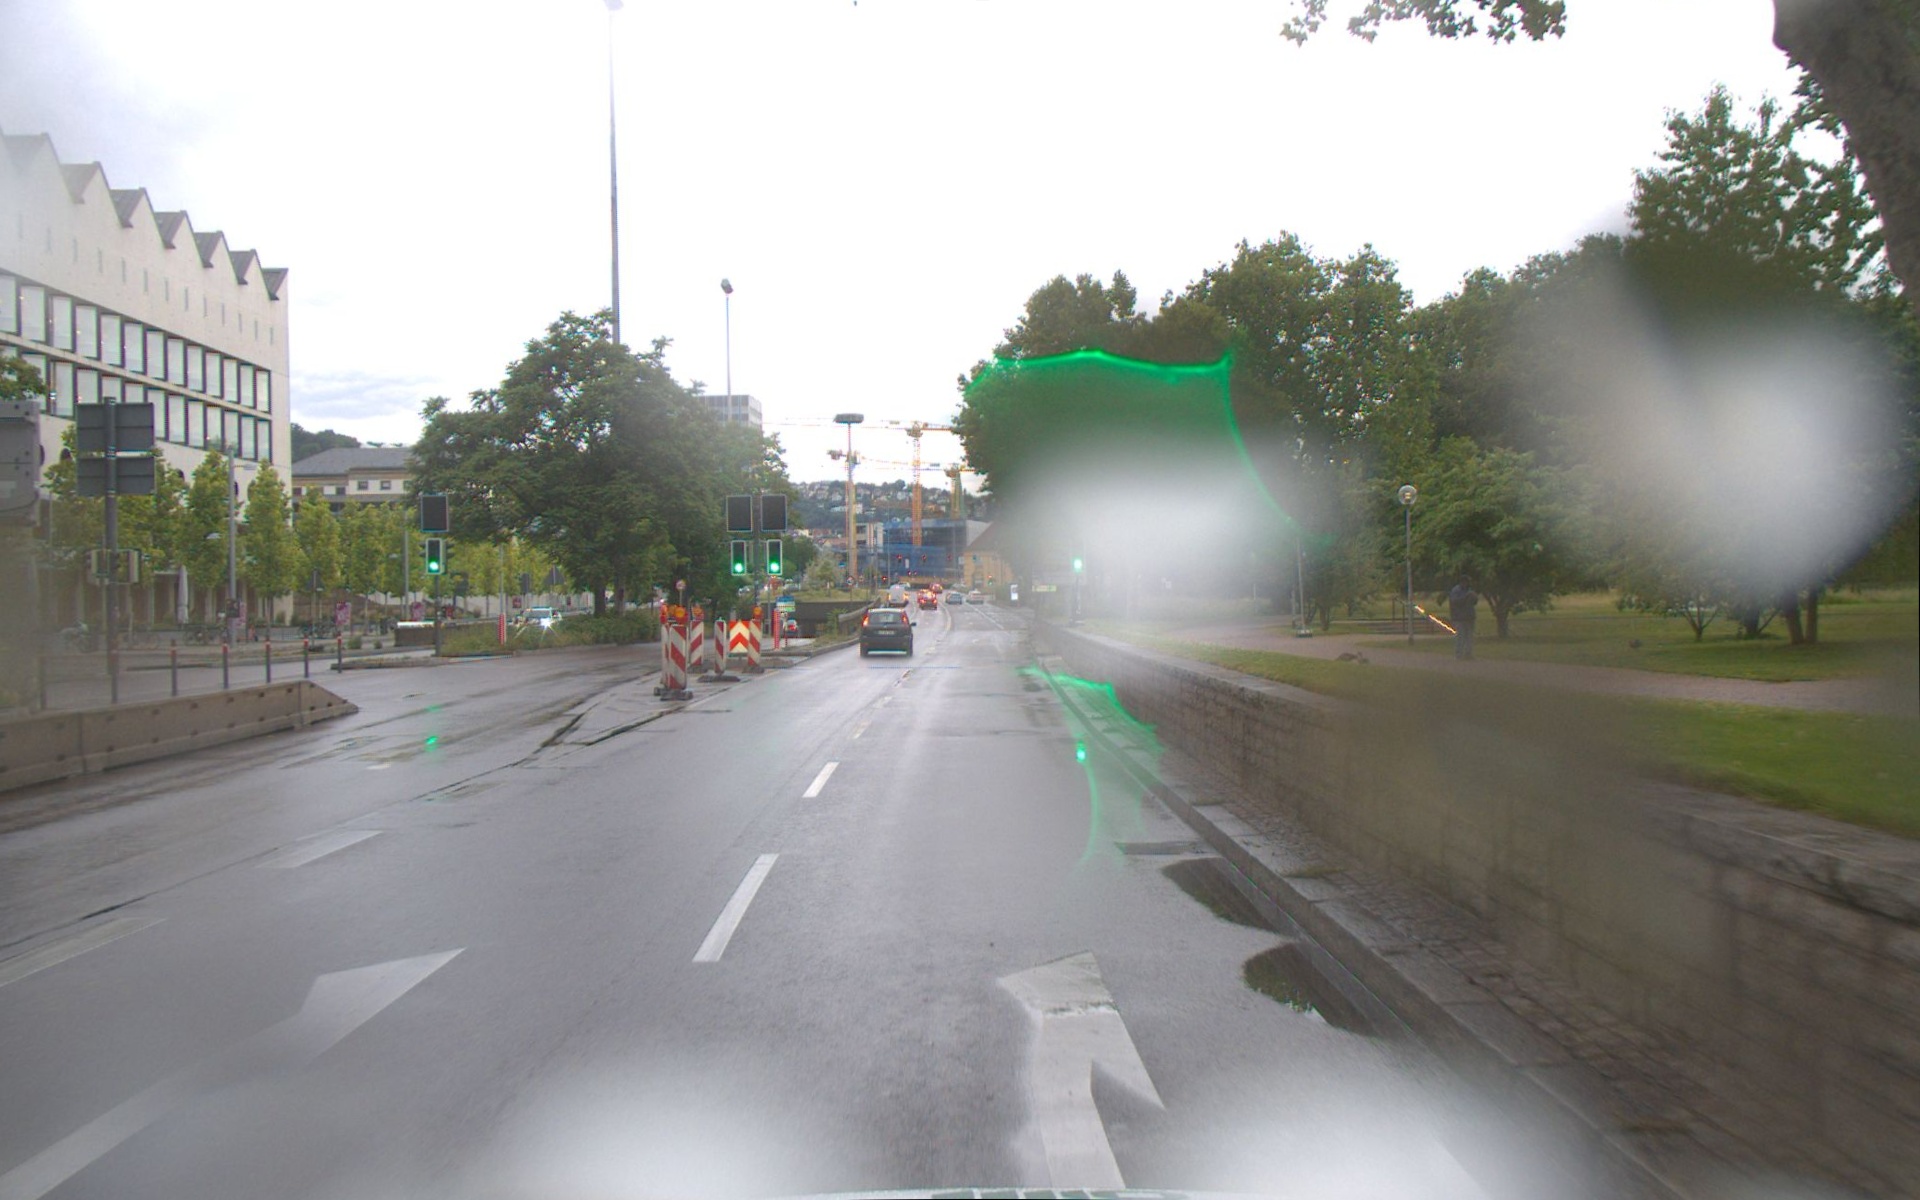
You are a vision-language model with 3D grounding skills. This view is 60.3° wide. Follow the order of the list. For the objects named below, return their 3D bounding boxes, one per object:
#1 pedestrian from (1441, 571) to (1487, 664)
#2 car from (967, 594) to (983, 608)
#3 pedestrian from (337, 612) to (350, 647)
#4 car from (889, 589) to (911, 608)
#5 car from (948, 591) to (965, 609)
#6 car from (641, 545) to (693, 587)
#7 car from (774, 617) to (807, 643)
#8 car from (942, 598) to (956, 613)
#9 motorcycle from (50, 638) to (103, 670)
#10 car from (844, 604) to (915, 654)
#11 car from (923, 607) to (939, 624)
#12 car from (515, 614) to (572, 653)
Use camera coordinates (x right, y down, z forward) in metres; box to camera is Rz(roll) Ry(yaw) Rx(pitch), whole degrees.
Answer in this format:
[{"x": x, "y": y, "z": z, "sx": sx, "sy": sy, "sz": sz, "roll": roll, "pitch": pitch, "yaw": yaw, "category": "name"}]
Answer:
[{"x": 9.907, "y": 0.333, "z": 32.520, "sx": 0.583, "sy": 1.786, "sz": 0.725, "roll": -2, "pitch": 0, "yaw": -4, "category": "pedestrian"}, {"x": 1.992, "y": 0.147, "z": 216.863, "sx": 1.952, "sy": 1.627, "sz": 4.000, "roll": -3, "pitch": -1, "yaw": 1, "category": "car"}, {"x": -36.543, "y": 1.767, "z": 98.026, "sx": 0.535, "sy": 2.049, "sz": 0.524, "roll": -1, "pitch": -2, "yaw": -37, "category": "pedestrian"}, {"x": -7.144, "y": -0.118, "z": 195.986, "sx": 2.173, "sy": 2.049, "sz": 4.001, "roll": 2, "pitch": -2, "yaw": 3, "category": "car"}, {"x": -0.472, "y": 0.028, "z": 212.343, "sx": 1.947, "sy": 2.049, "sz": 3.998, "roll": -3, "pitch": -1, "yaw": -2, "category": "car"}, {"x": -12.670, "y": -1.446, "z": 71.732, "sx": 1.955, "sy": 1.661, "sz": 3.994, "roll": -1, "pitch": -1, "yaw": -6, "category": "car"}, {"x": -12.249, "y": 2.158, "z": 119.782, "sx": 1.953, "sy": 1.812, "sz": 3.999, "roll": -1, "pitch": 0, "yaw": -1, "category": "car"}, {"x": -1.421, "y": 0.741, "z": 218.440, "sx": 1.677, "sy": 1.719, "sz": 3.849, "roll": -3, "pitch": -1, "yaw": 1, "category": "car"}, {"x": -34.487, "y": 2.108, "z": 64.594, "sx": 1.814, "sy": 1.174, "sz": 0.423, "roll": -1, "pitch": -1, "yaw": -30, "category": "motorcycle"}, {"x": -2.551, "y": 0.936, "z": 51.773, "sx": 1.810, "sy": 1.441, "sz": 3.831, "roll": -2, "pitch": -1, "yaw": -8, "category": "car"}, {"x": -3.246, "y": 1.740, "z": 185.810, "sx": 1.704, "sy": 1.802, "sz": 3.998, "roll": -3, "pitch": -1, "yaw": -2, "category": "car"}, {"x": -21.541, "y": 1.746, "z": 85.697, "sx": 1.954, "sy": 1.872, "sz": 4.888, "roll": -3, "pitch": -1, "yaw": -4, "category": "car"}]
